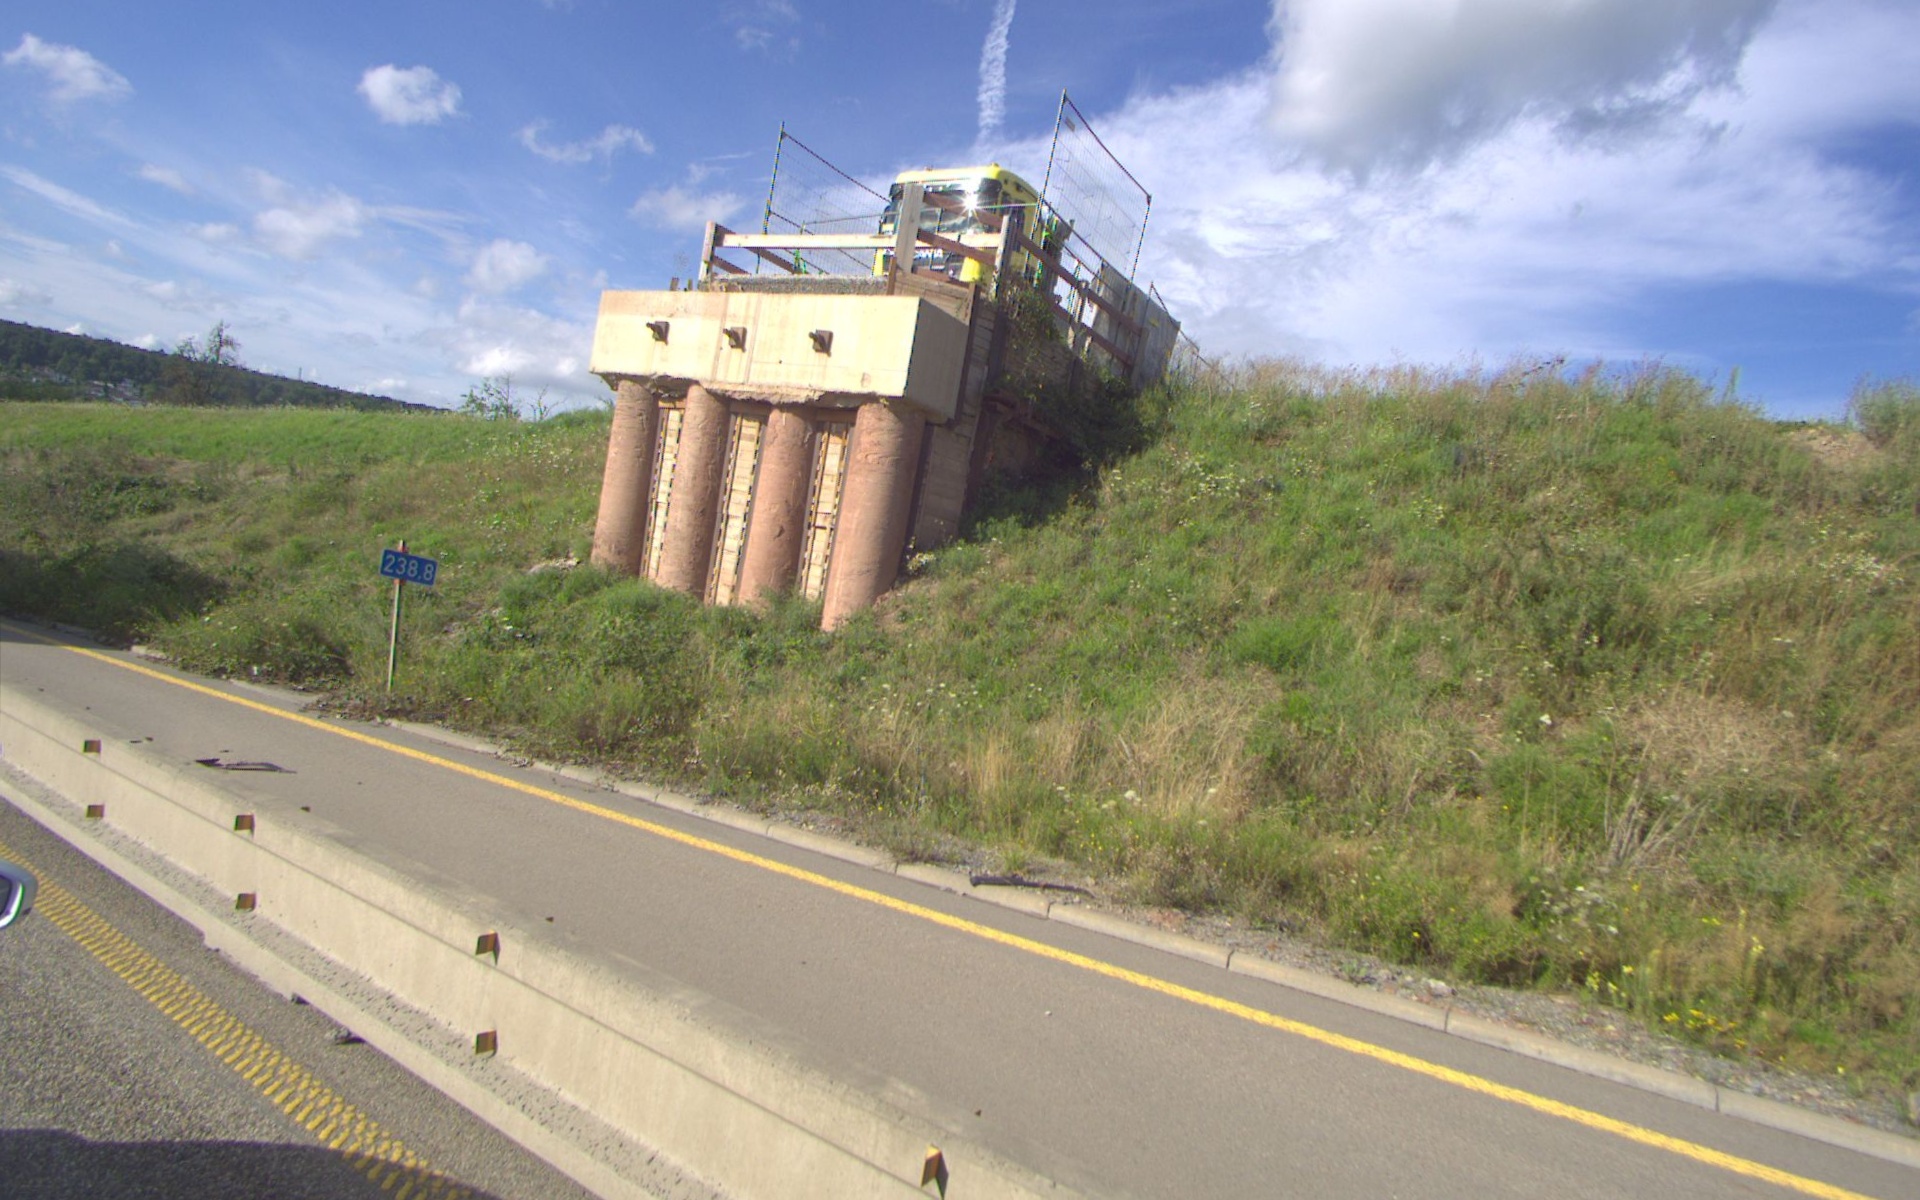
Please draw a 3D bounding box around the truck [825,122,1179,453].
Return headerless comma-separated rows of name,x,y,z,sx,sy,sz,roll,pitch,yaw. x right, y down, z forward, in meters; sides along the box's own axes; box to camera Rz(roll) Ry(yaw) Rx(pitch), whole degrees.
truck,1.434,-5.643,20.554,2.910,3.266,9.281,7,-1,30
